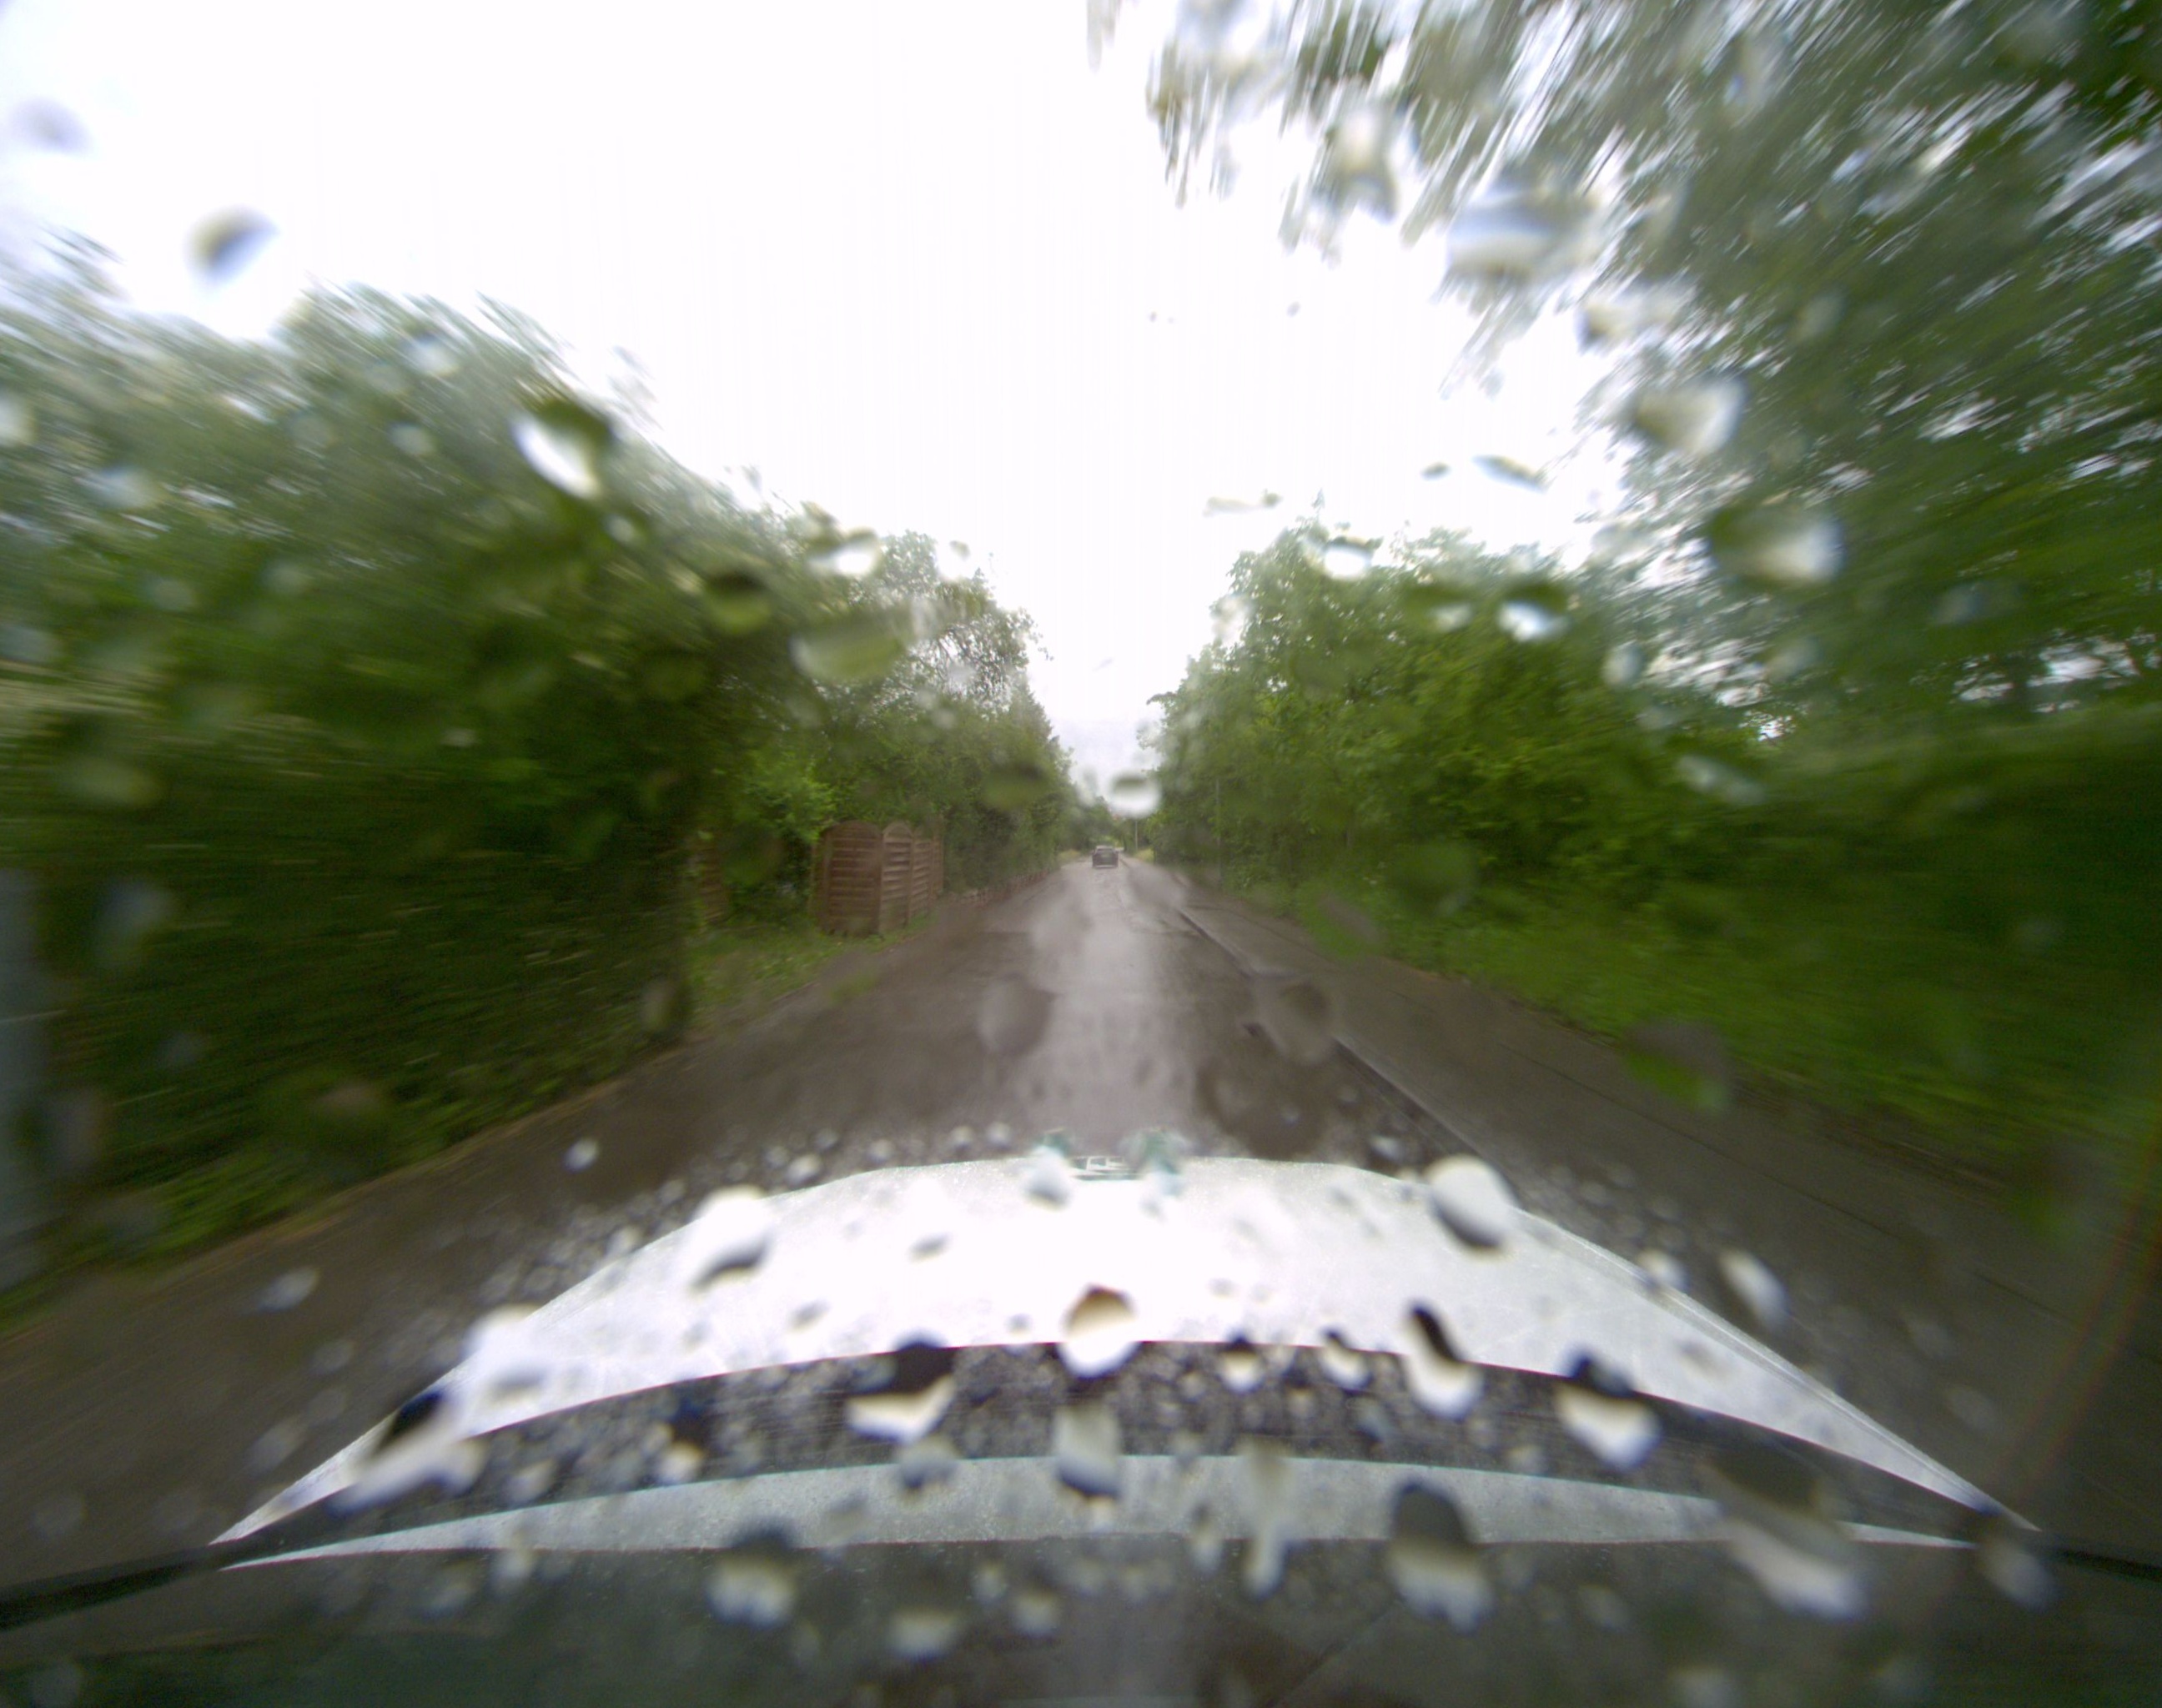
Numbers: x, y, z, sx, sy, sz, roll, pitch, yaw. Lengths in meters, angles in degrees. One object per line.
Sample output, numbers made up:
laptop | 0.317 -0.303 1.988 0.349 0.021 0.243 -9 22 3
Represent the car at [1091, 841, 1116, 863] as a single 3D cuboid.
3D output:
car | 1.571 -0.141 56.305 1.628 1.450 3.547 -1 0 3
